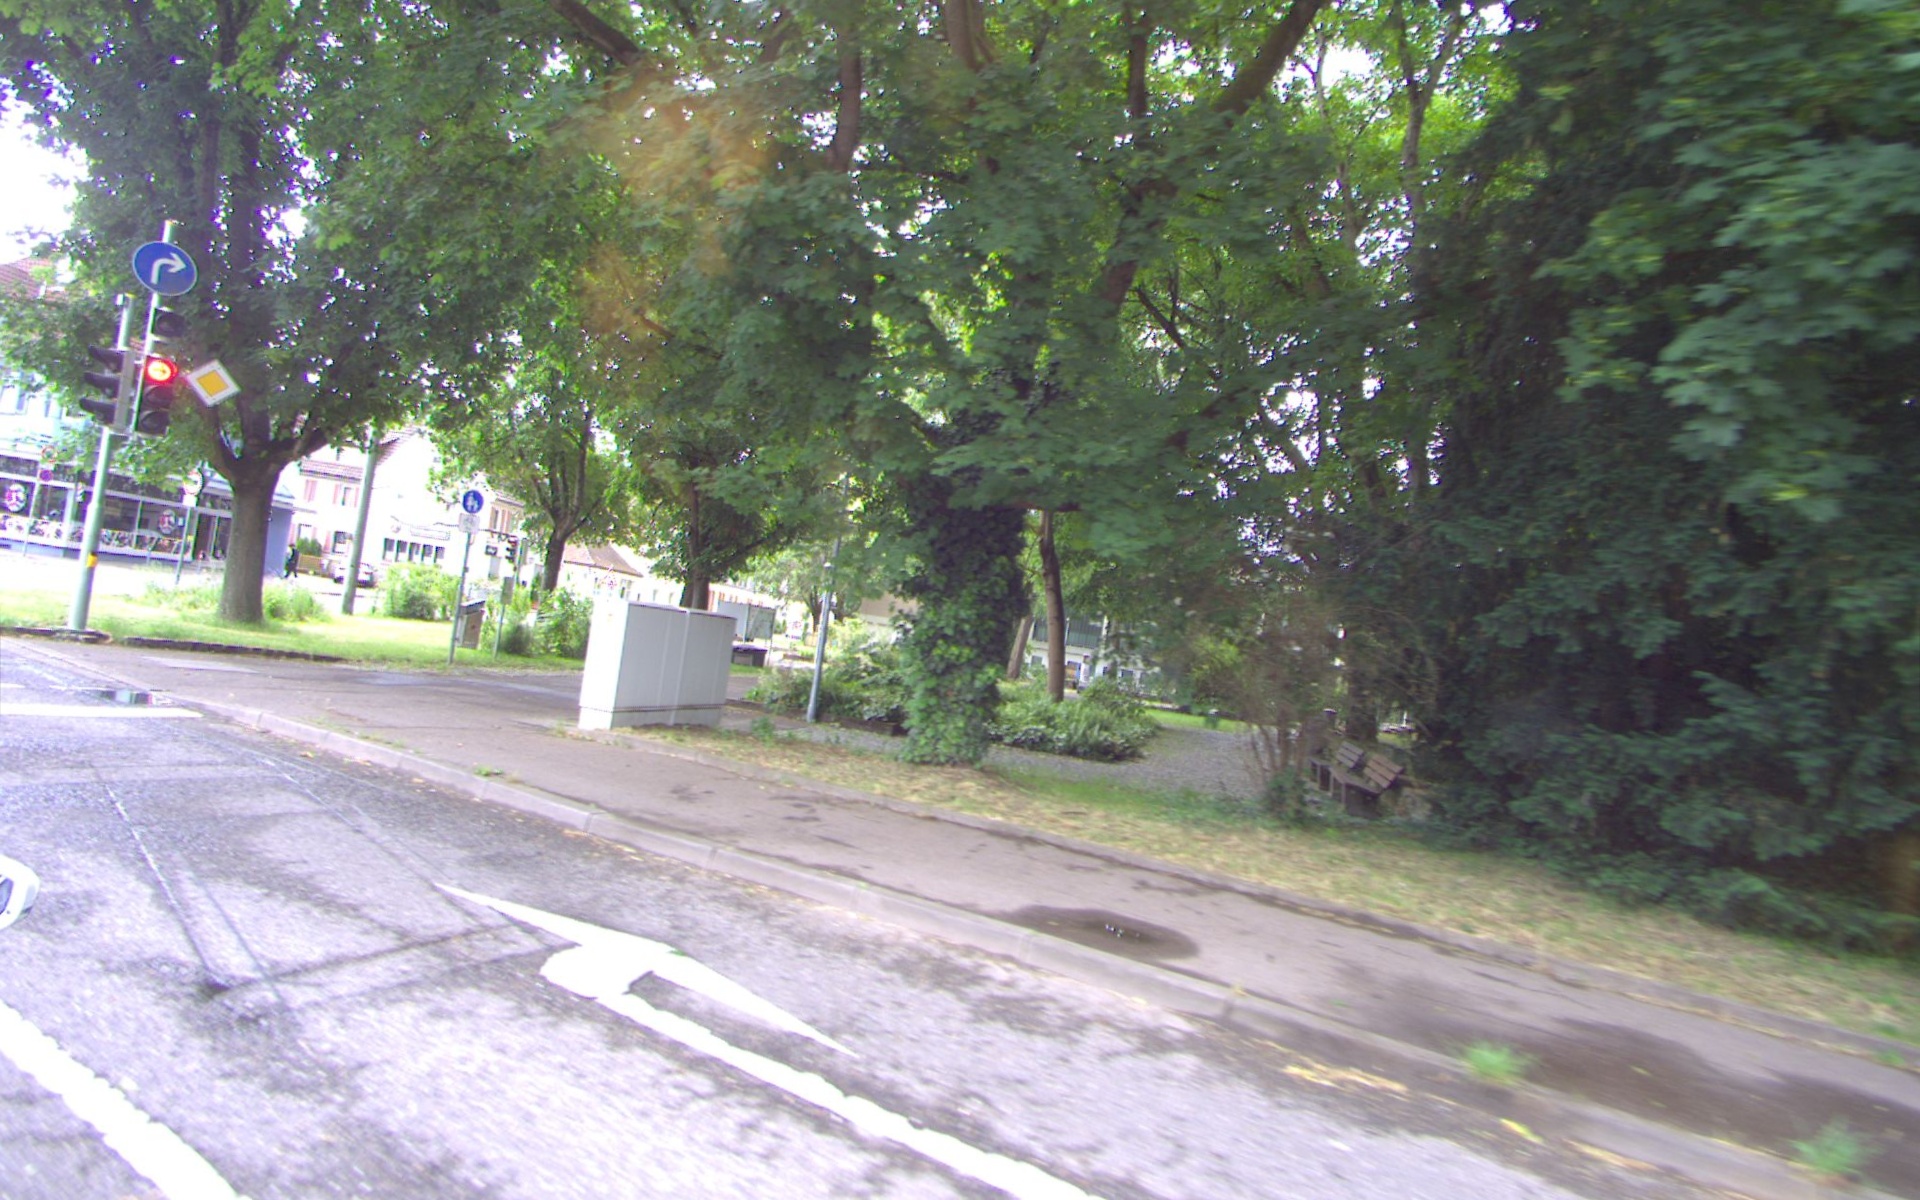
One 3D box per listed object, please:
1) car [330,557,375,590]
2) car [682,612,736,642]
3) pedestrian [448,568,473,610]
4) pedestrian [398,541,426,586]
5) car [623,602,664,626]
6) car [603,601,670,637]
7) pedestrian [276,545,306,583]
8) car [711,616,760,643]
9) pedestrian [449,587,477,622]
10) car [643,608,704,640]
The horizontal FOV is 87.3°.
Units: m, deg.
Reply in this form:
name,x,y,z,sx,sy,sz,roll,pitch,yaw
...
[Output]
name,x,y,z,sx,sy,sz,roll,pitch,yaw
car,-32.475,-1.422,53.854,1.872,1.406,3.587,9,-2,-30
car,-15.223,1.677,61.156,1.618,1.474,3.740,7,-2,12
pedestrian,-19.891,-0.438,40.021,0.688,1.578,0.662,8,-1,-29
pedestrian,-20.574,-1.367,37.765,0.725,1.578,0.763,8,-1,-29
car,-23.983,1.062,76.360,1.736,1.463,3.865,7,-2,1
car,-16.484,1.012,51.404,1.618,1.474,3.478,7,-2,12
pedestrian,-30.742,-1.647,46.216,0.732,1.578,0.673,7,-1,16
car,-14.983,1.971,67.297,1.618,1.474,3.740,7,-2,12
pedestrian,-16.774,0.158,33.970,0.506,1.093,0.507,7,-1,16
car,-15.935,1.370,56.157,1.618,1.474,3.740,7,-2,12
